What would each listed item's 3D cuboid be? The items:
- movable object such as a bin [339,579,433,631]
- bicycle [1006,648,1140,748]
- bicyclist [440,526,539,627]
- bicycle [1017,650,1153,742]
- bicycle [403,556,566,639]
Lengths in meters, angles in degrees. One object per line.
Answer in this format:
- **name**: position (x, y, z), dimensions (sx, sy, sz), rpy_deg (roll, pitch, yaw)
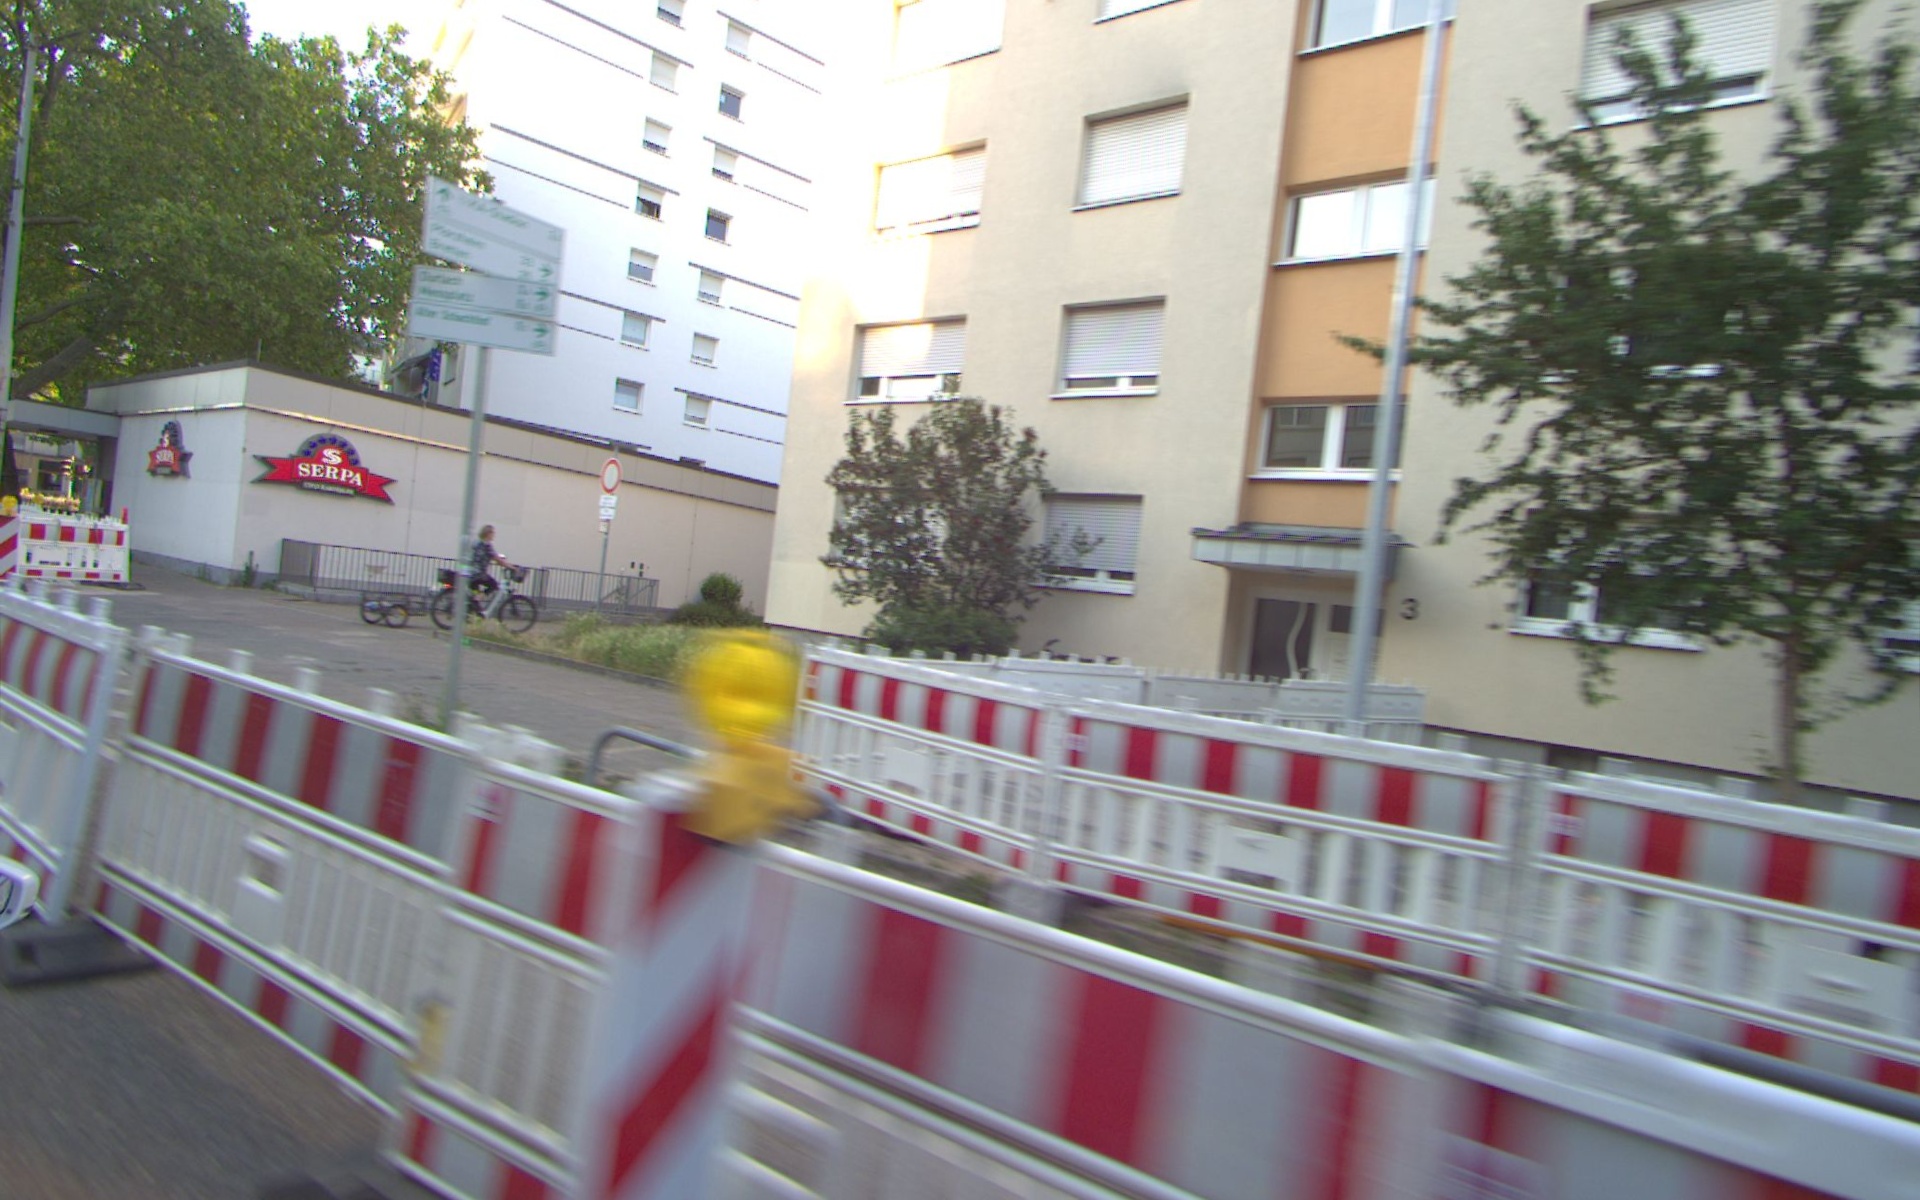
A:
- **movable object such as a bin**: position (-9.296, 0.085, 16.294), dimensions (0.928, 0.697, 0.990), rpy_deg (7, 0, 37)
- **bicycle**: position (1.381, 1.200, 12.658), dimensions (0.540, 0.980, 1.798), rpy_deg (6, 0, -34)
- **bicyclist**: position (-8.240, -0.397, 17.627), dimensions (0.928, 1.601, 1.142), rpy_deg (7, 0, 37)
- **bicycle**: position (1.653, 1.267, 13.503), dimensions (1.671, 0.980, 0.544), rpy_deg (7, 0, 37)
- **bicycle**: position (-8.280, -0.013, 17.633), dimensions (0.928, 1.186, 2.351), rpy_deg (7, 0, 36)
